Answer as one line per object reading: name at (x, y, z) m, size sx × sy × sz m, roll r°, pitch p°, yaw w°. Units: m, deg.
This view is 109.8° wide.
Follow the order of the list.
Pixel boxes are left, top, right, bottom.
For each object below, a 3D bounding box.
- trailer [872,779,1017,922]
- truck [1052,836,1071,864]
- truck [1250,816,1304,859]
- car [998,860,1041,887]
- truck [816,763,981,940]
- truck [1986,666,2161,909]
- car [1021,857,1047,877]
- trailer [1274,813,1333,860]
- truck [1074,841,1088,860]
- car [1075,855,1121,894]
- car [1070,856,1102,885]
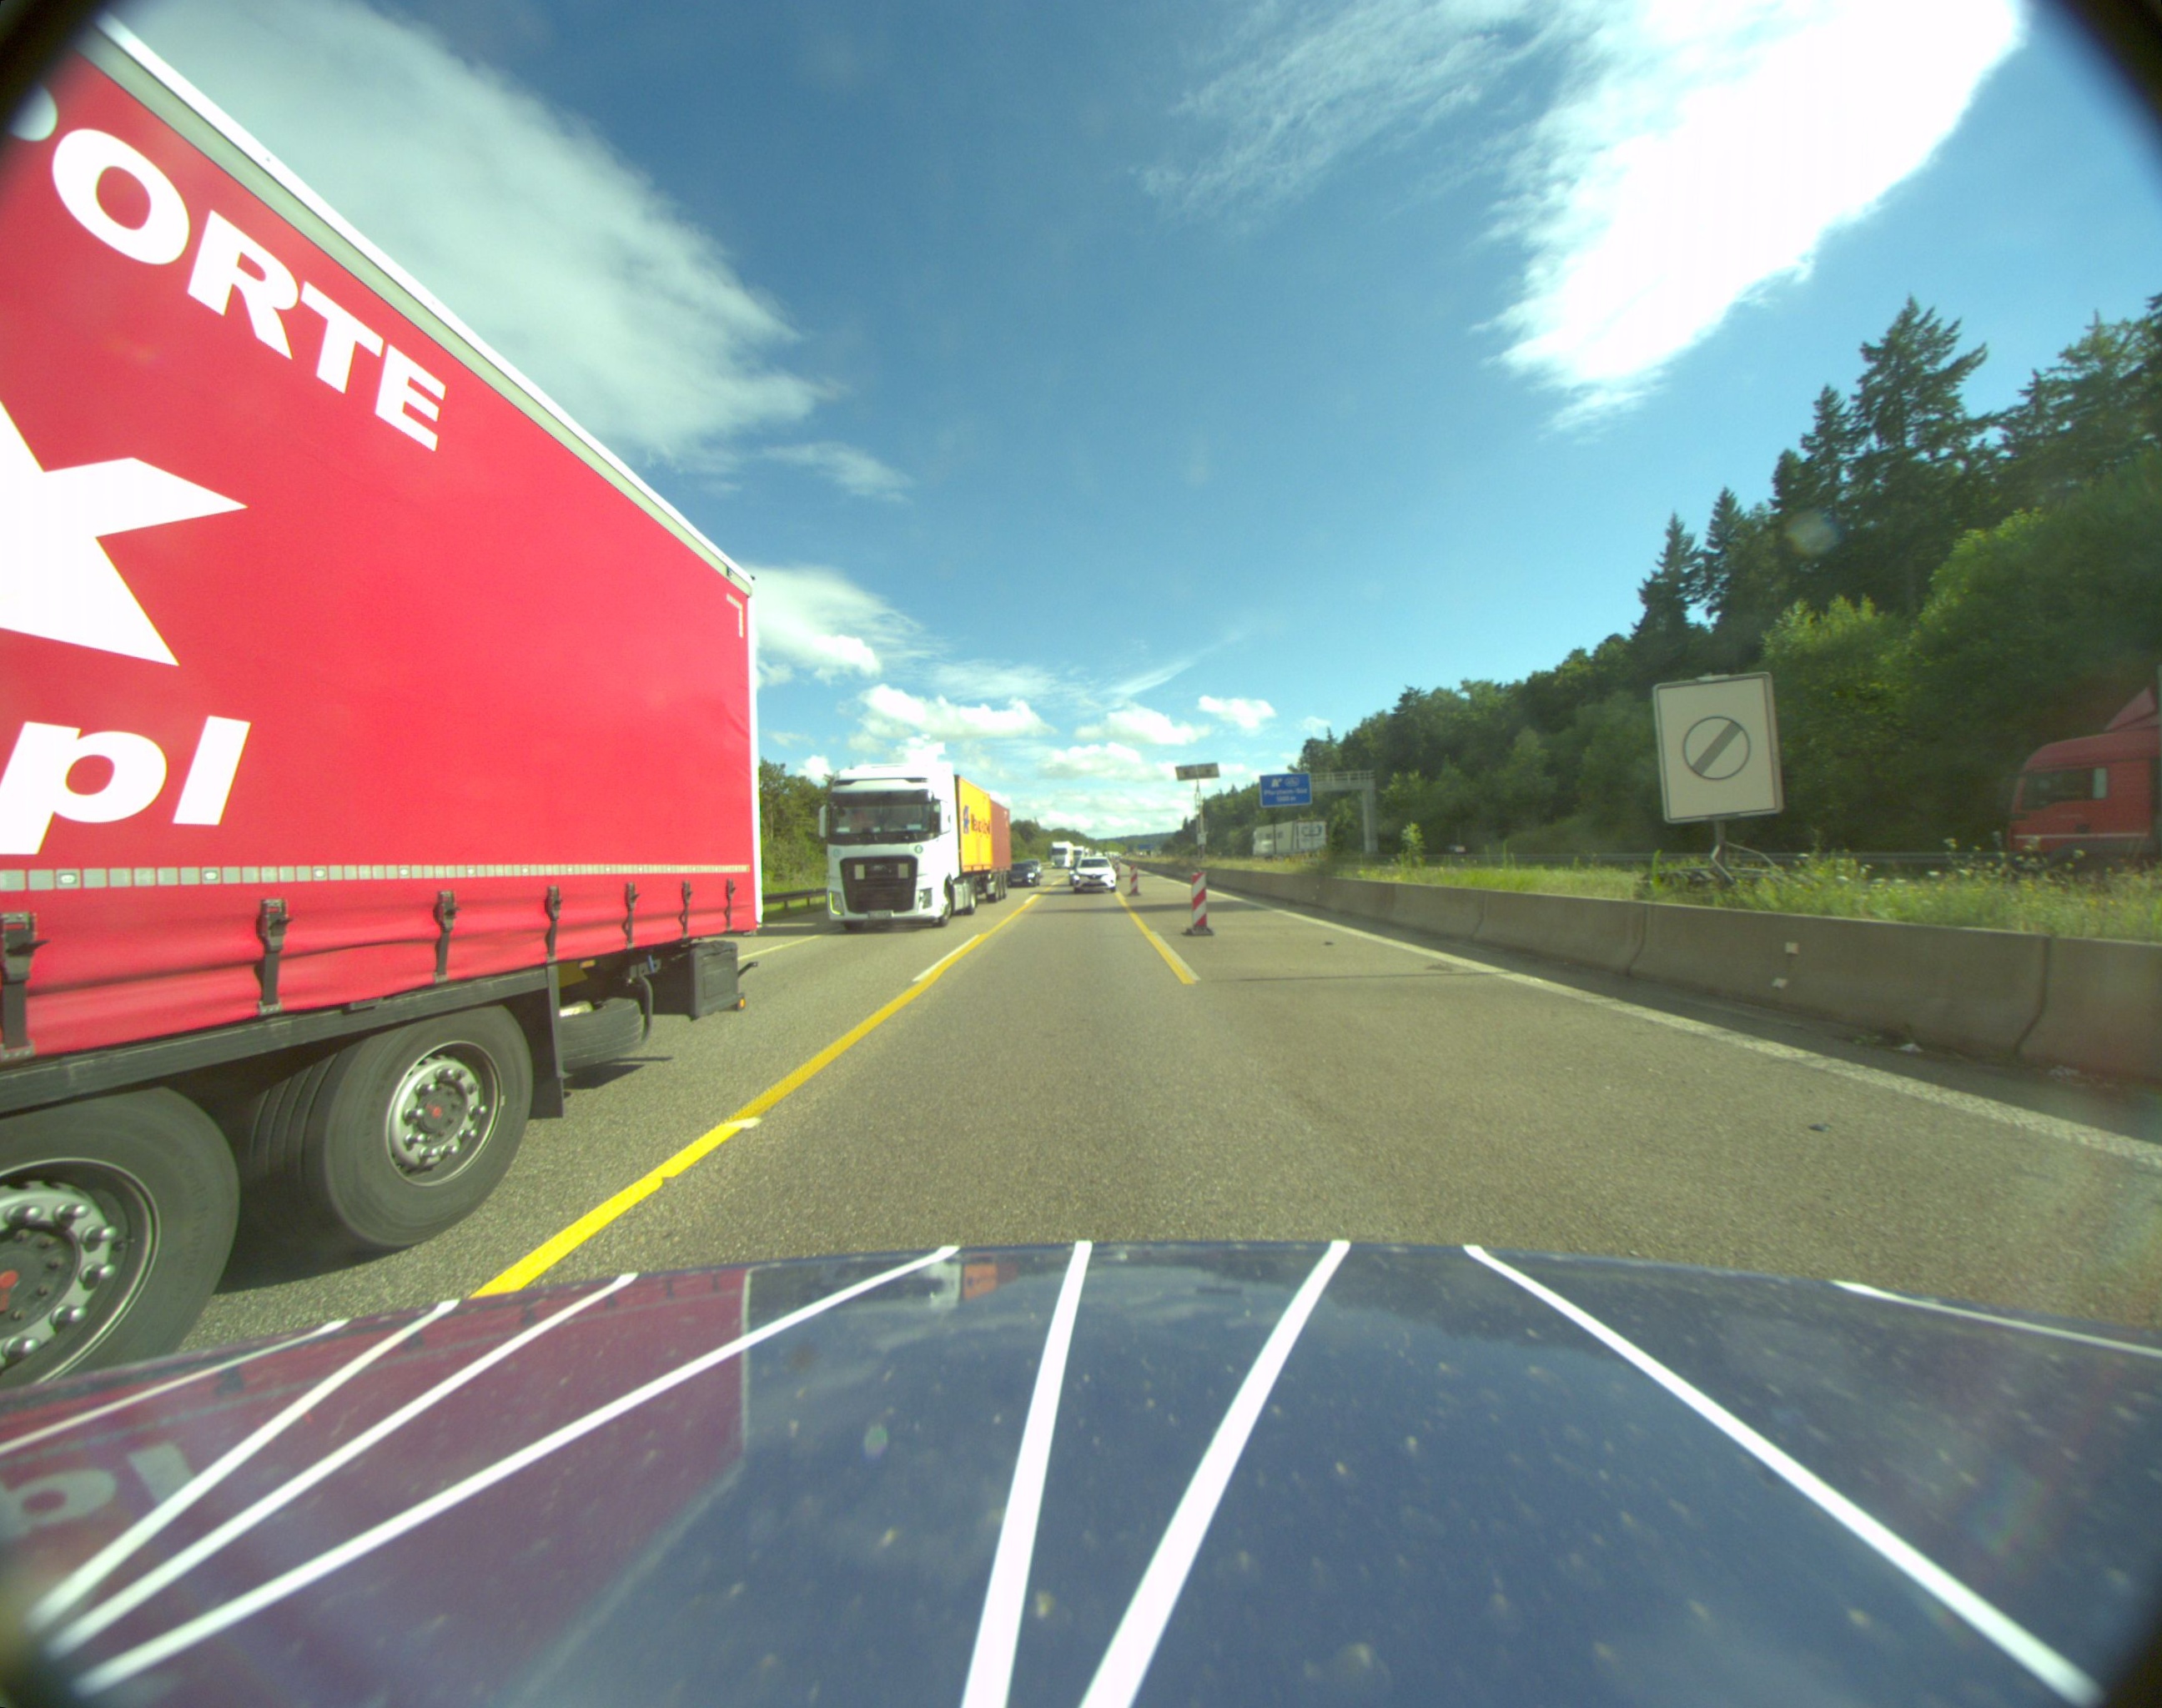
trailer at (-4.193, -0.107, 26.532) m, size 2.477 × 3.753 × 12.136 m, roll -2°, pitch 0°, yaw 1°
truck at (-3.018, -0.557, 118.110) m, size 2.641 × 4.092 × 8.194 m, roll -2°, pitch 0°, yaw -1°
truck at (19.999, -1.659, 78.251) m, size 2.789 × 3.962 × 10.861 m, roll -2°, pitch 1°, yaw 1°
car at (-3.437, 1.053, 43.319) m, size 1.933 × 1.342 × 4.477 m, roll -2°, pitch 0°, yaw 1°
truck at (-4.349, -0.068, 19.371) m, size 2.501 × 3.759 × 5.790 m, roll -2°, pitch 1°, yaw 2°
truck at (19.048, -1.128, 9.742) m, size 2.807 × 3.969 × 10.185 m, roll -2°, pitch 0°, yaw 1°
car at (-3.819, 1.047, 62.352) m, size 1.762 × 1.471 × 3.968 m, roll -2°, pitch 1°, yaw 1°
trailer at (19.914, -1.519, 68.576) m, size 2.797 × 3.900 × 8.487 m, roll -2°, pitch 1°, yaw 1°
truck at (-0.014, -0.693, 172.100) m, size 2.640 × 4.092 × 8.197 m, roll -2°, pitch 0°, yaw 3°
car at (0.704, 0.849, 33.334) m, size 1.840 × 1.528 × 3.882 m, roll -2°, pitch 1°, yaw -1°
car at (0.298, 0.916, 43.496) m, size 1.692 × 1.471 × 3.754 m, roll -2°, pitch 1°, yaw 1°
